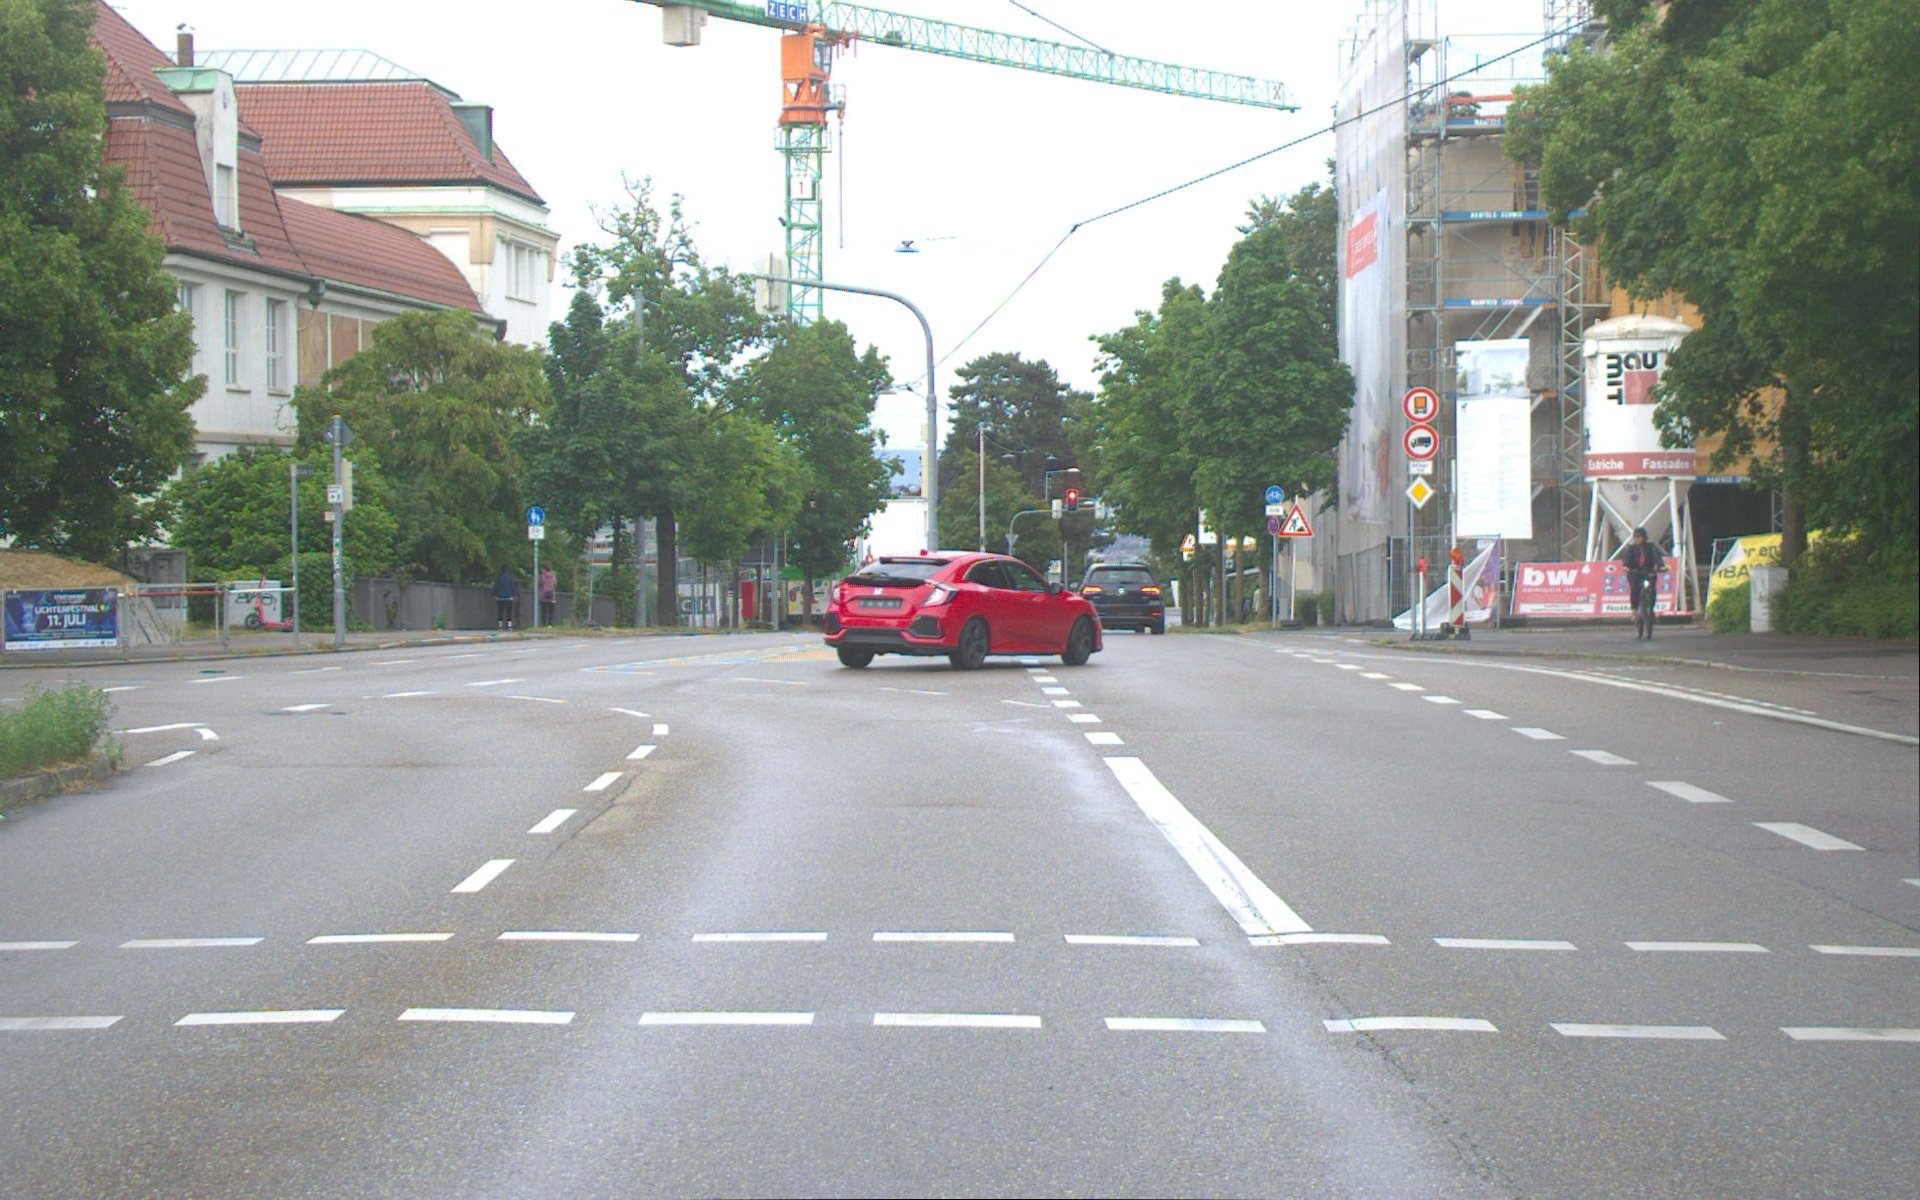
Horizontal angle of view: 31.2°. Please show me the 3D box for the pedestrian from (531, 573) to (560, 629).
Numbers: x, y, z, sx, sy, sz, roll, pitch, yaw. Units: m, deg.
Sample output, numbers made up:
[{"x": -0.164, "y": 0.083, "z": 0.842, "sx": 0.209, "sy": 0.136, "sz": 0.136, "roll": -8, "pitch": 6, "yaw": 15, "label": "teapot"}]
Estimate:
[{"x": -10.351, "y": 0.020, "z": 85.922, "sx": 0.637, "sy": 1.381, "sz": 0.606, "roll": 1, "pitch": -1, "yaw": -1, "label": "pedestrian"}]

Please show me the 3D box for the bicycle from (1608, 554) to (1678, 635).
[{"x": 10.398, "y": -0.069, "z": 52.397, "sx": 0.720, "sy": 1.189, "sz": 1.756, "roll": 1, "pitch": -1, "yaw": 1, "label": "bicycle"}]

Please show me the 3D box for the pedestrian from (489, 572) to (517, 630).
[{"x": -11.304, "y": 0.028, "z": 85.102, "sx": 0.587, "sy": 1.424, "sz": 0.467, "roll": 1, "pitch": -1, "yaw": 0, "label": "pedestrian"}]

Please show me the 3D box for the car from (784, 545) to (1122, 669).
[{"x": -0.017, "y": 0.045, "z": 42.042, "sx": 1.997, "sy": 1.420, "sz": 4.511, "roll": 1, "pitch": 1, "yaw": 33, "label": "car"}]

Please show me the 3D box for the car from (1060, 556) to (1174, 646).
[{"x": 3.131, "y": 0.047, "z": 69.116, "sx": 1.993, "sy": 1.700, "sz": 4.000, "roll": 1, "pitch": -1, "yaw": -1, "label": "car"}]

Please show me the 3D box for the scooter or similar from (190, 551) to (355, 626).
[{"x": -13.592, "y": -0.243, "z": 68.040, "sx": 3.087, "sy": 1.435, "sz": 0.949, "roll": -1, "pitch": 1, "yaw": -2, "label": "scooter or similar"}]

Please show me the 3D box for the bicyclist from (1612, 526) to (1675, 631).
[{"x": 10.394, "y": -0.315, "z": 52.304, "sx": 0.720, "sy": 1.558, "sz": 1.143, "roll": 1, "pitch": -1, "yaw": 1, "label": "bicyclist"}]
